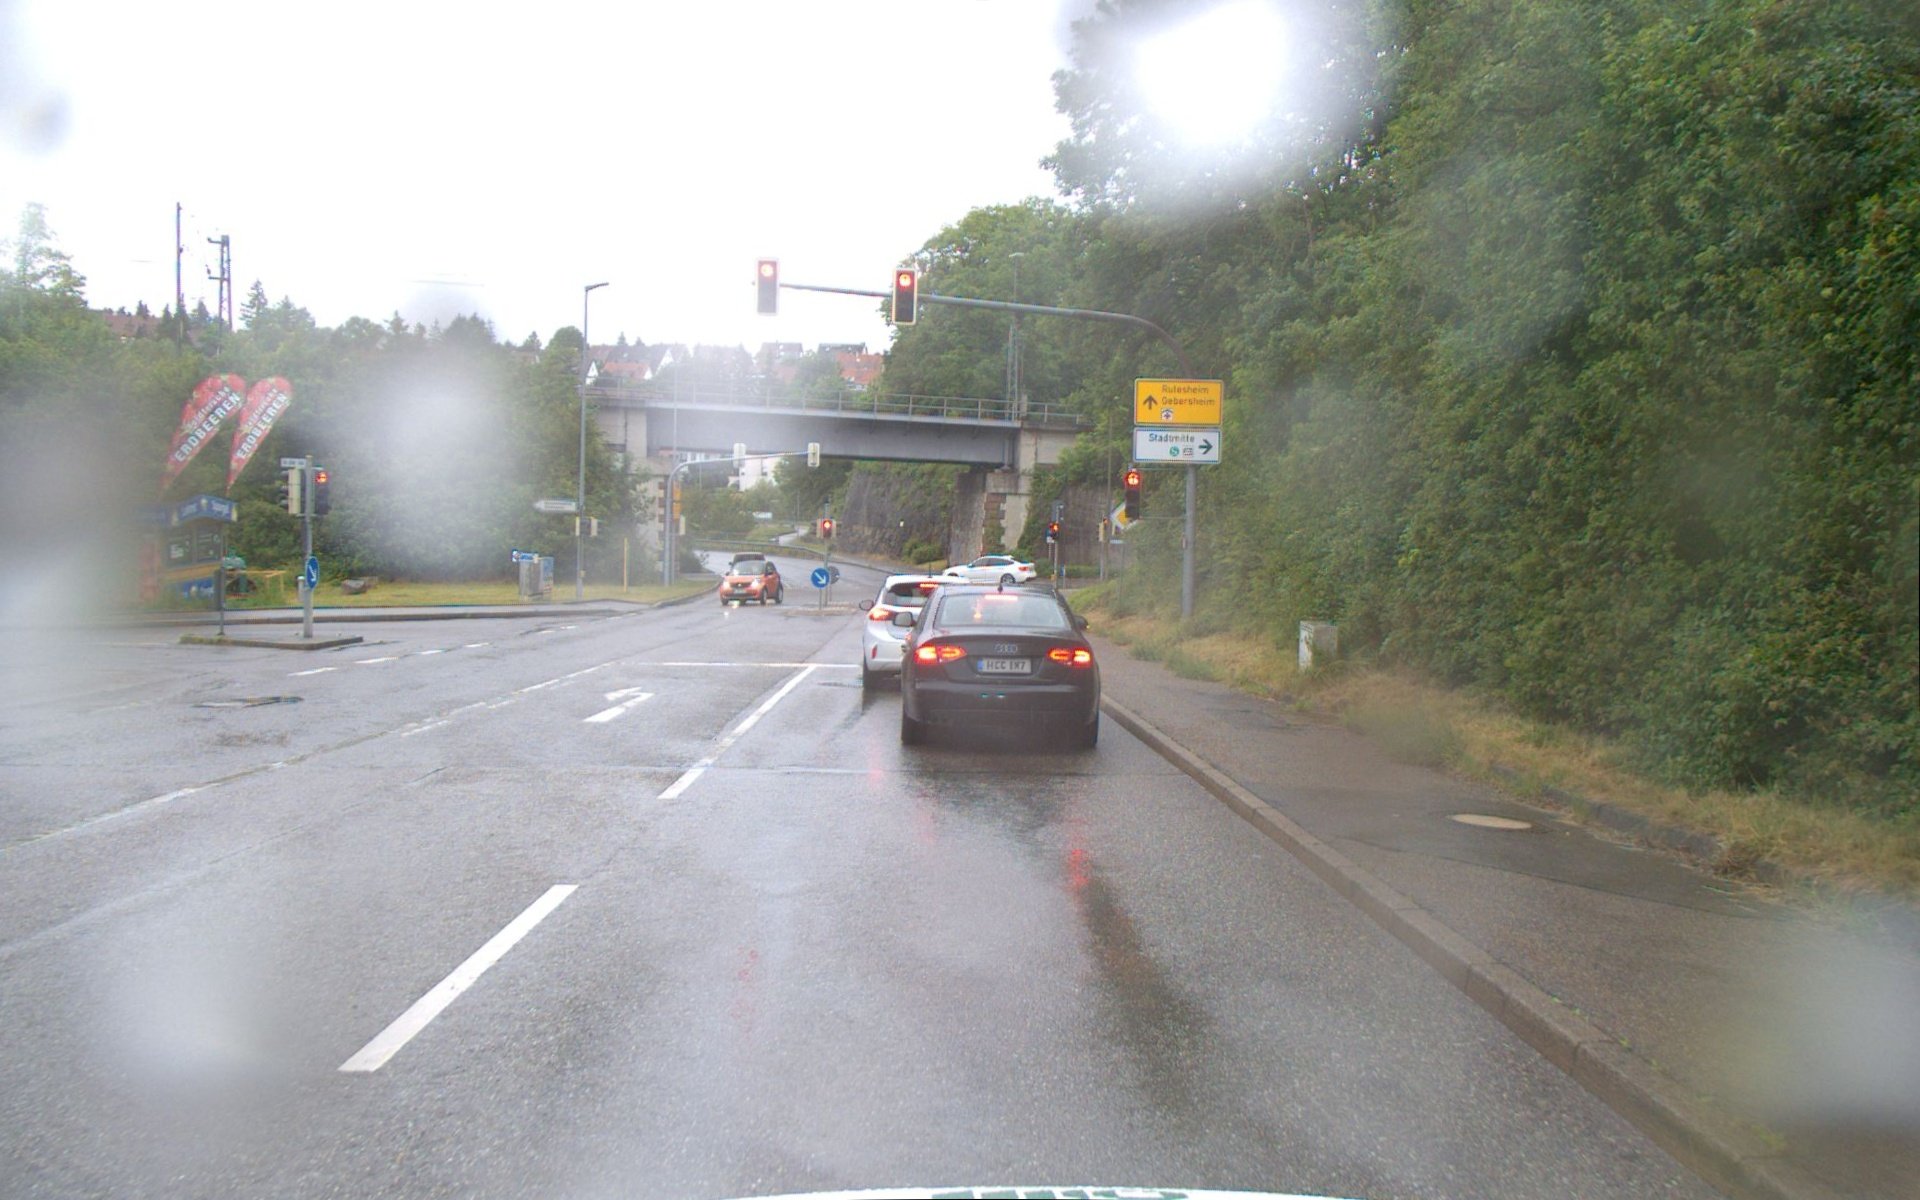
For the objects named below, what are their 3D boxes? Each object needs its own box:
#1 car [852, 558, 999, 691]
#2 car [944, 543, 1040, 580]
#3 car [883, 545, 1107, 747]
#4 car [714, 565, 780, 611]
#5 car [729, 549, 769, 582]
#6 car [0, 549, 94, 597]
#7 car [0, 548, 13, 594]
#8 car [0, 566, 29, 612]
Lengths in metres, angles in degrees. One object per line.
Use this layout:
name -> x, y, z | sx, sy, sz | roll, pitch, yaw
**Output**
car -> -0.465, 0.301, 22.259 | 1.786, 1.613, 3.999 | 1, 0, -1
car -> 1.600, -1.911, 81.481 | 4.372, 1.773, 1.811 | 1, 0, 18
car -> 0.247, 0.338, 15.533 | 1.832, 1.644, 3.999 | 0, 1, -1
car -> -7.797, -0.436, 60.808 | 1.953, 1.613, 3.999 | 1, 0, -1
car -> -10.658, -1.750, 83.493 | 1.956, 1.656, 3.993 | 0, 1, -8
car -> -32.423, -0.970, 58.787 | 1.960, 1.612, 3.986 | -1, 1, -14
car -> -34.550, -0.994, 57.292 | 1.960, 1.612, 3.986 | -1, 1, -14
car -> -29.322, -0.337, 49.118 | 1.623, 1.364, 4.885 | 1, 0, -14
